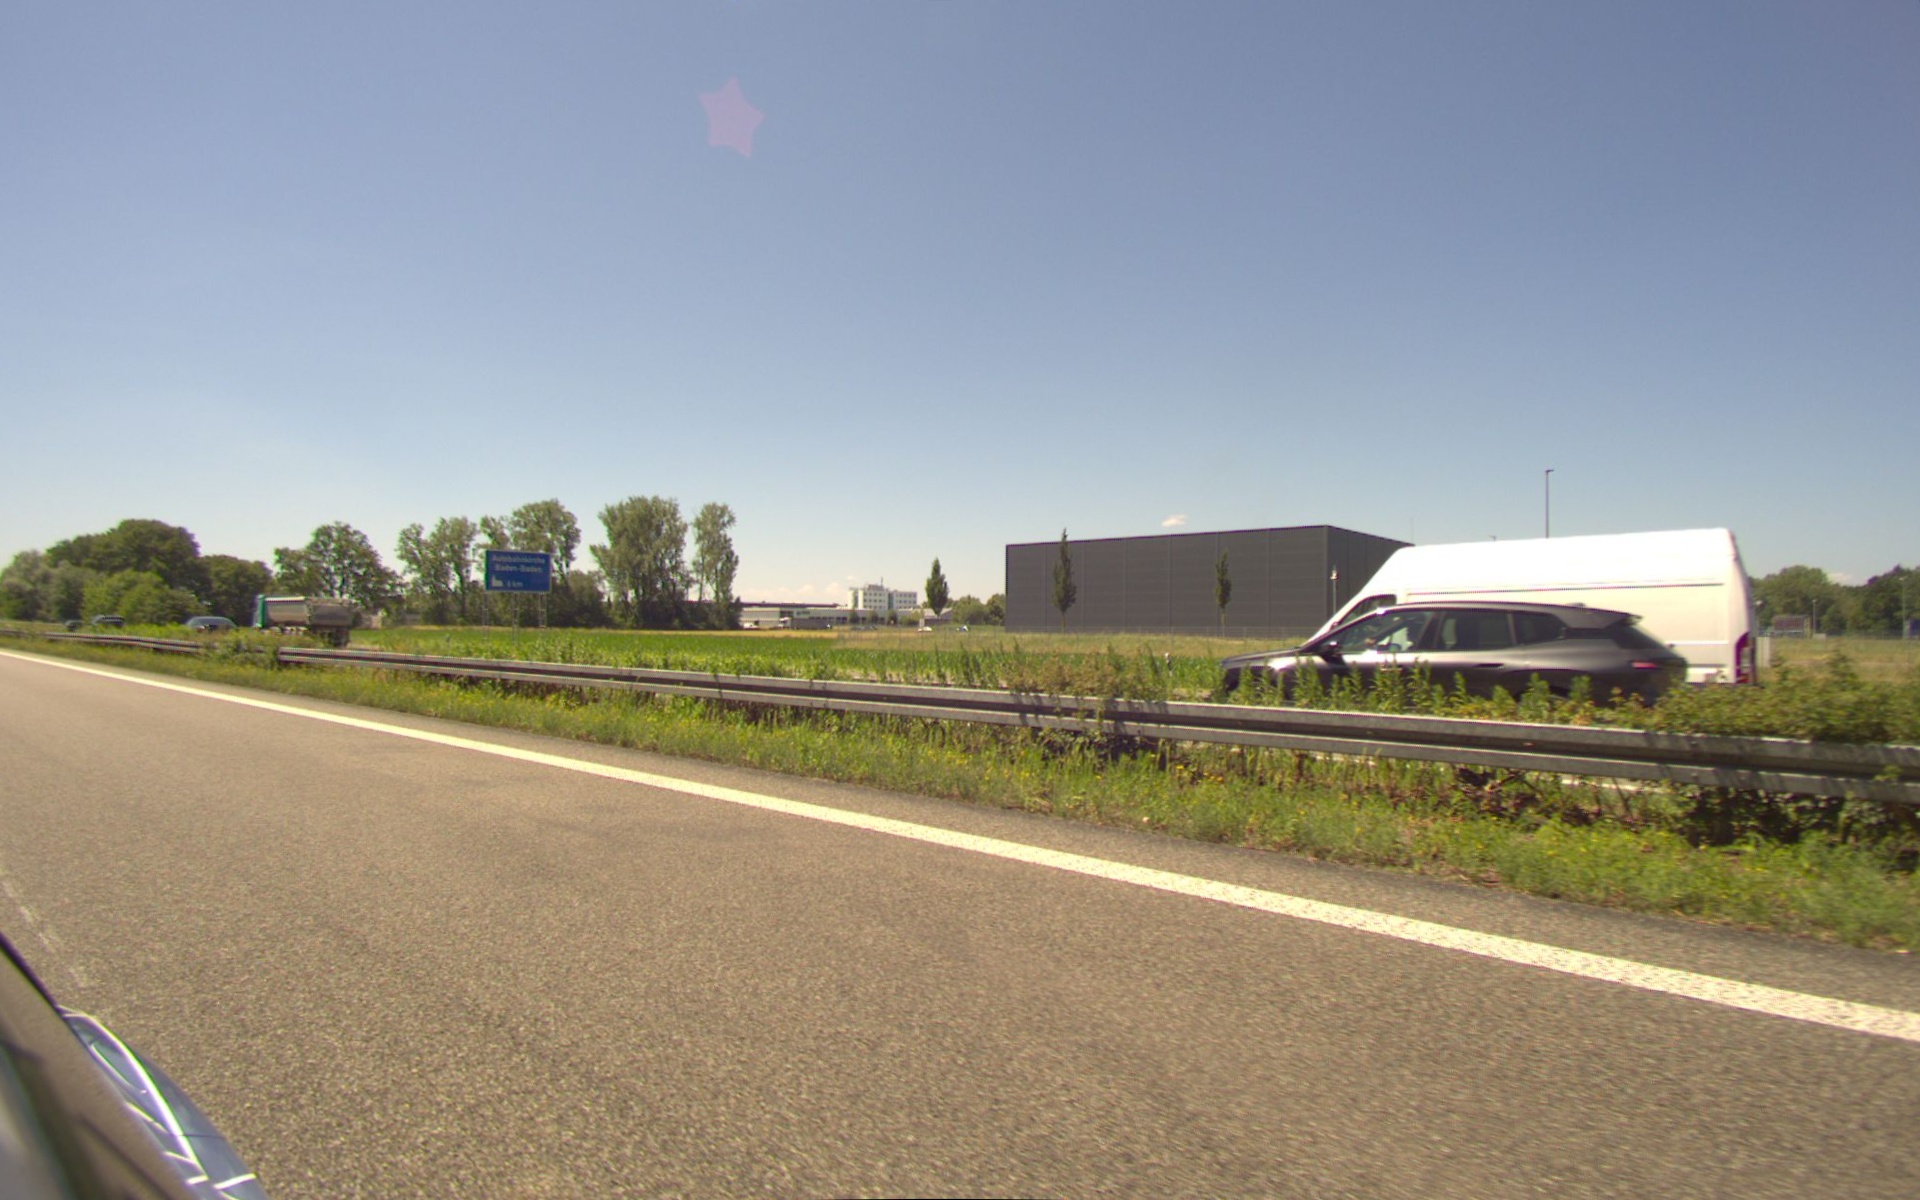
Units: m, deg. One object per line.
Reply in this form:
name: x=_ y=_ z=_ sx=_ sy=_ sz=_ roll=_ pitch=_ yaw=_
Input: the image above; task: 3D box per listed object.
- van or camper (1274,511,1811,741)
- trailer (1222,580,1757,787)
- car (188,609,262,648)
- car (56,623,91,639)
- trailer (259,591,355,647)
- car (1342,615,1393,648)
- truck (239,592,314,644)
van or camper: x=7.864 y=0.365 z=14.167 sx=6.172 sy=2.553 sz=2.397 roll=0 pitch=-3 yaw=41
trailer: x=5.541 y=0.780 z=11.025 sx=4.854 sy=1.772 sz=1.973 roll=-1 pitch=-2 yaw=41
car: x=-34.784 y=1.320 z=47.846 sx=4.720 sy=1.756 sz=1.849 roll=-1 pitch=-2 yaw=42
car: x=-89.315 y=3.119 z=101.932 sx=5.661 sy=1.652 sz=1.972 roll=-1 pitch=-2 yaw=42
trailer: x=-40.739 y=1.158 z=63.007 sx=9.255 sy=3.262 sz=2.647 roll=-1 pitch=-1 yaw=42
car: x=28.935 y=2.249 z=71.964 sx=2.085 sy=2.194 sz=5.594 roll=0 pitch=-2 yaw=8
truck: x=-45.284 y=1.198 z=67.007 sx=5.836 sy=3.275 sz=2.669 roll=-1 pitch=-2 yaw=42
